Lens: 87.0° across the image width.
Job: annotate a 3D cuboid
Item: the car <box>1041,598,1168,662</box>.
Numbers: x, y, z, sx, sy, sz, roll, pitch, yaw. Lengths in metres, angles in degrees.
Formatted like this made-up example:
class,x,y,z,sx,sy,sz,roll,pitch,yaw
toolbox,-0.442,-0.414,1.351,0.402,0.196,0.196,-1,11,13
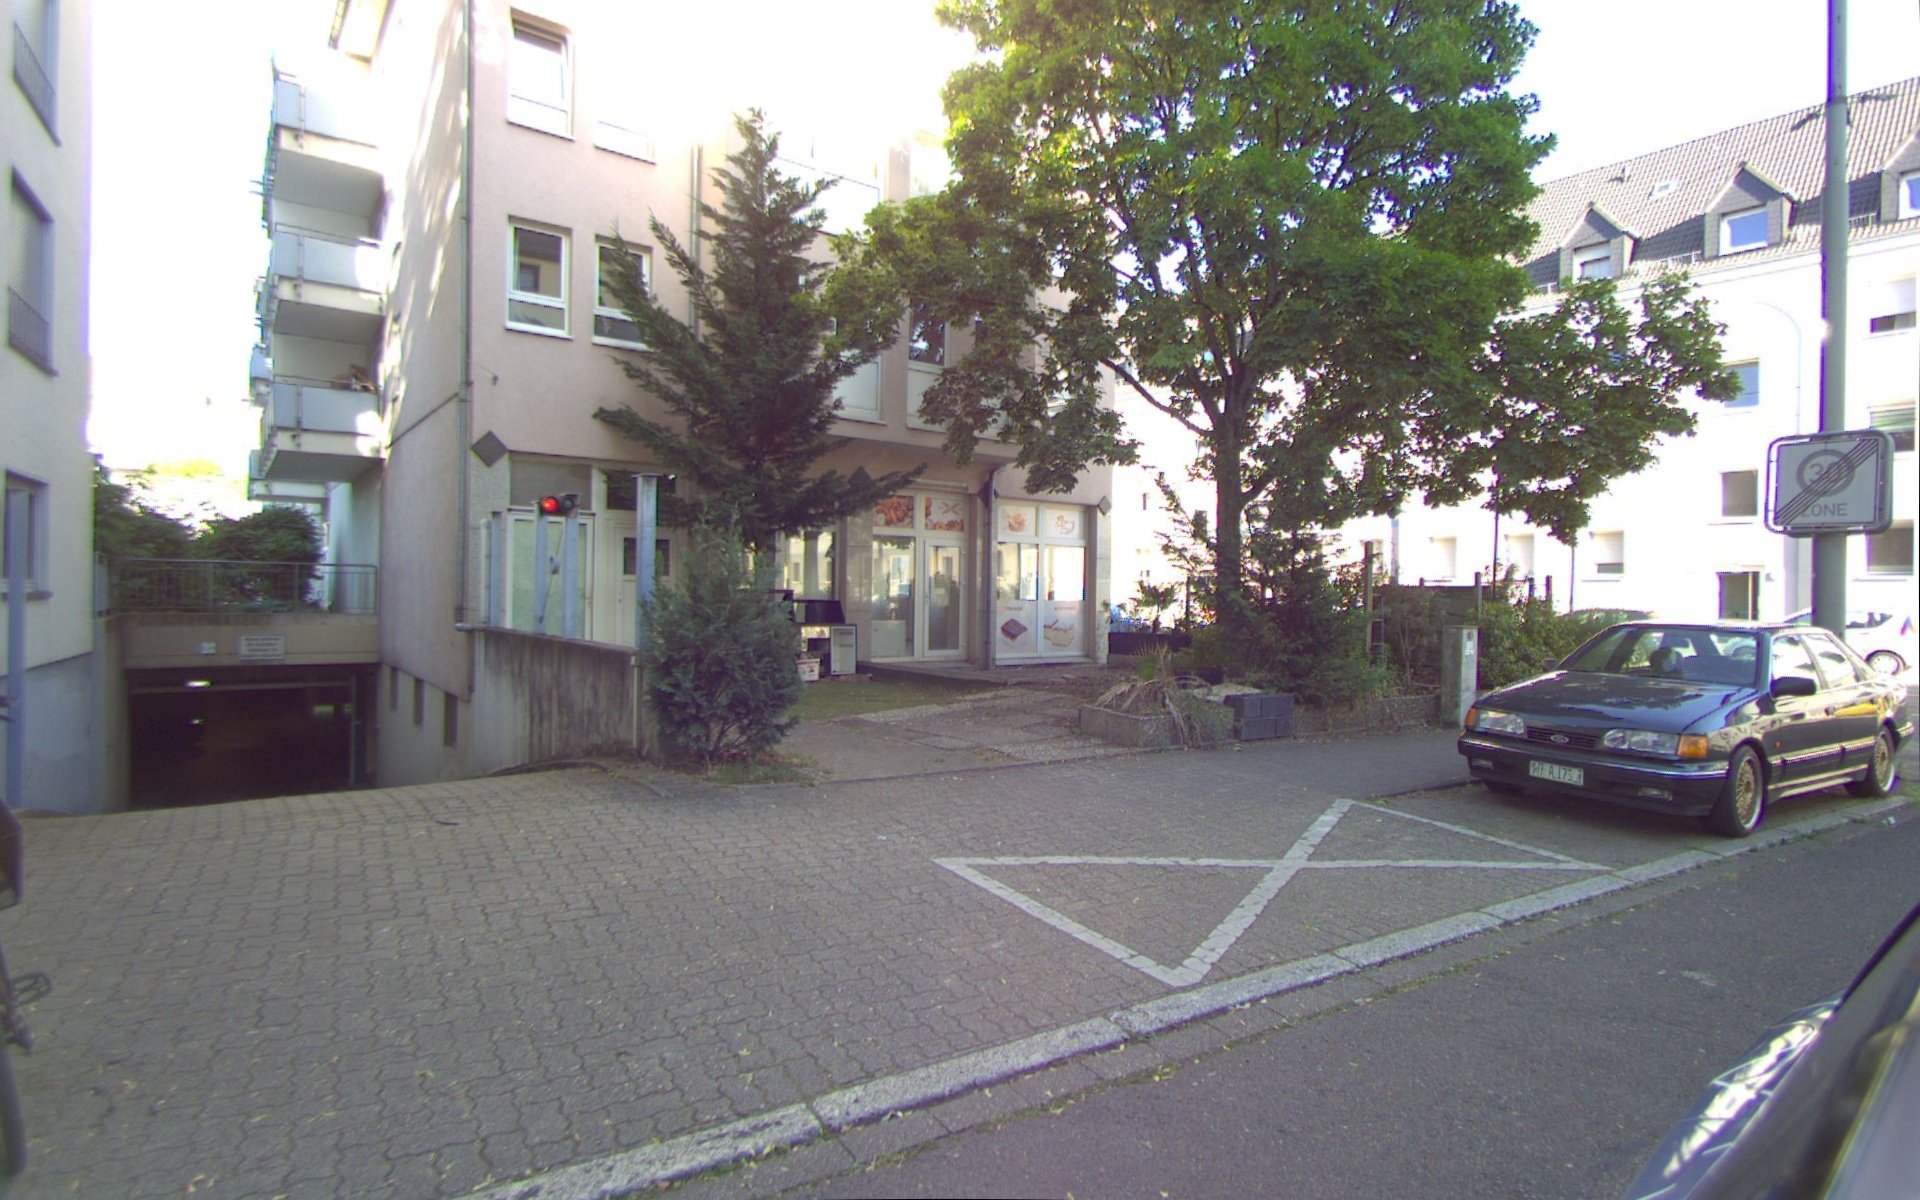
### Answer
class,x,y,z,sx,sy,sz,roll,pitch,yaw
car,3.395,0.667,24.115,1.242,1.373,2.874,-1,1,-43

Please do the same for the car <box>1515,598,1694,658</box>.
class,x,y,z,sx,sy,sz,roll,pitch,yaw
car,17.976,0.809,28.384,1.620,1.527,3.872,1,-3,-39

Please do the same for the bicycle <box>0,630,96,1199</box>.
class,x,y,z,sx,sy,sz,roll,pitch,yaw
bicycle,-2.988,0.770,2.792,1.967,1.169,0.740,6,4,44

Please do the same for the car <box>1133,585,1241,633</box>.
class,x,y,z,sx,sy,sz,roll,pitch,yaw
car,8.935,0.323,40.066,1.663,1.804,3.997,1,0,-38

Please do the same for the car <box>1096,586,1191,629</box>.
class,x,y,z,sx,sy,sz,roll,pitch,yaw
car,7.993,0.316,44.344,1.663,1.804,3.997,1,0,-38

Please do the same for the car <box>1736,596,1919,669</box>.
class,x,y,z,sx,sy,sz,roll,pitch,yaw
car,21.125,0.723,24.300,1.620,1.627,3.702,1,0,-39

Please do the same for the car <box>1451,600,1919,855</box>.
class,x,y,z,sx,sy,sz,roll,pitch,yaw
car,5.957,0.776,7.952,4.419,1.424,1.668,0,3,-33
